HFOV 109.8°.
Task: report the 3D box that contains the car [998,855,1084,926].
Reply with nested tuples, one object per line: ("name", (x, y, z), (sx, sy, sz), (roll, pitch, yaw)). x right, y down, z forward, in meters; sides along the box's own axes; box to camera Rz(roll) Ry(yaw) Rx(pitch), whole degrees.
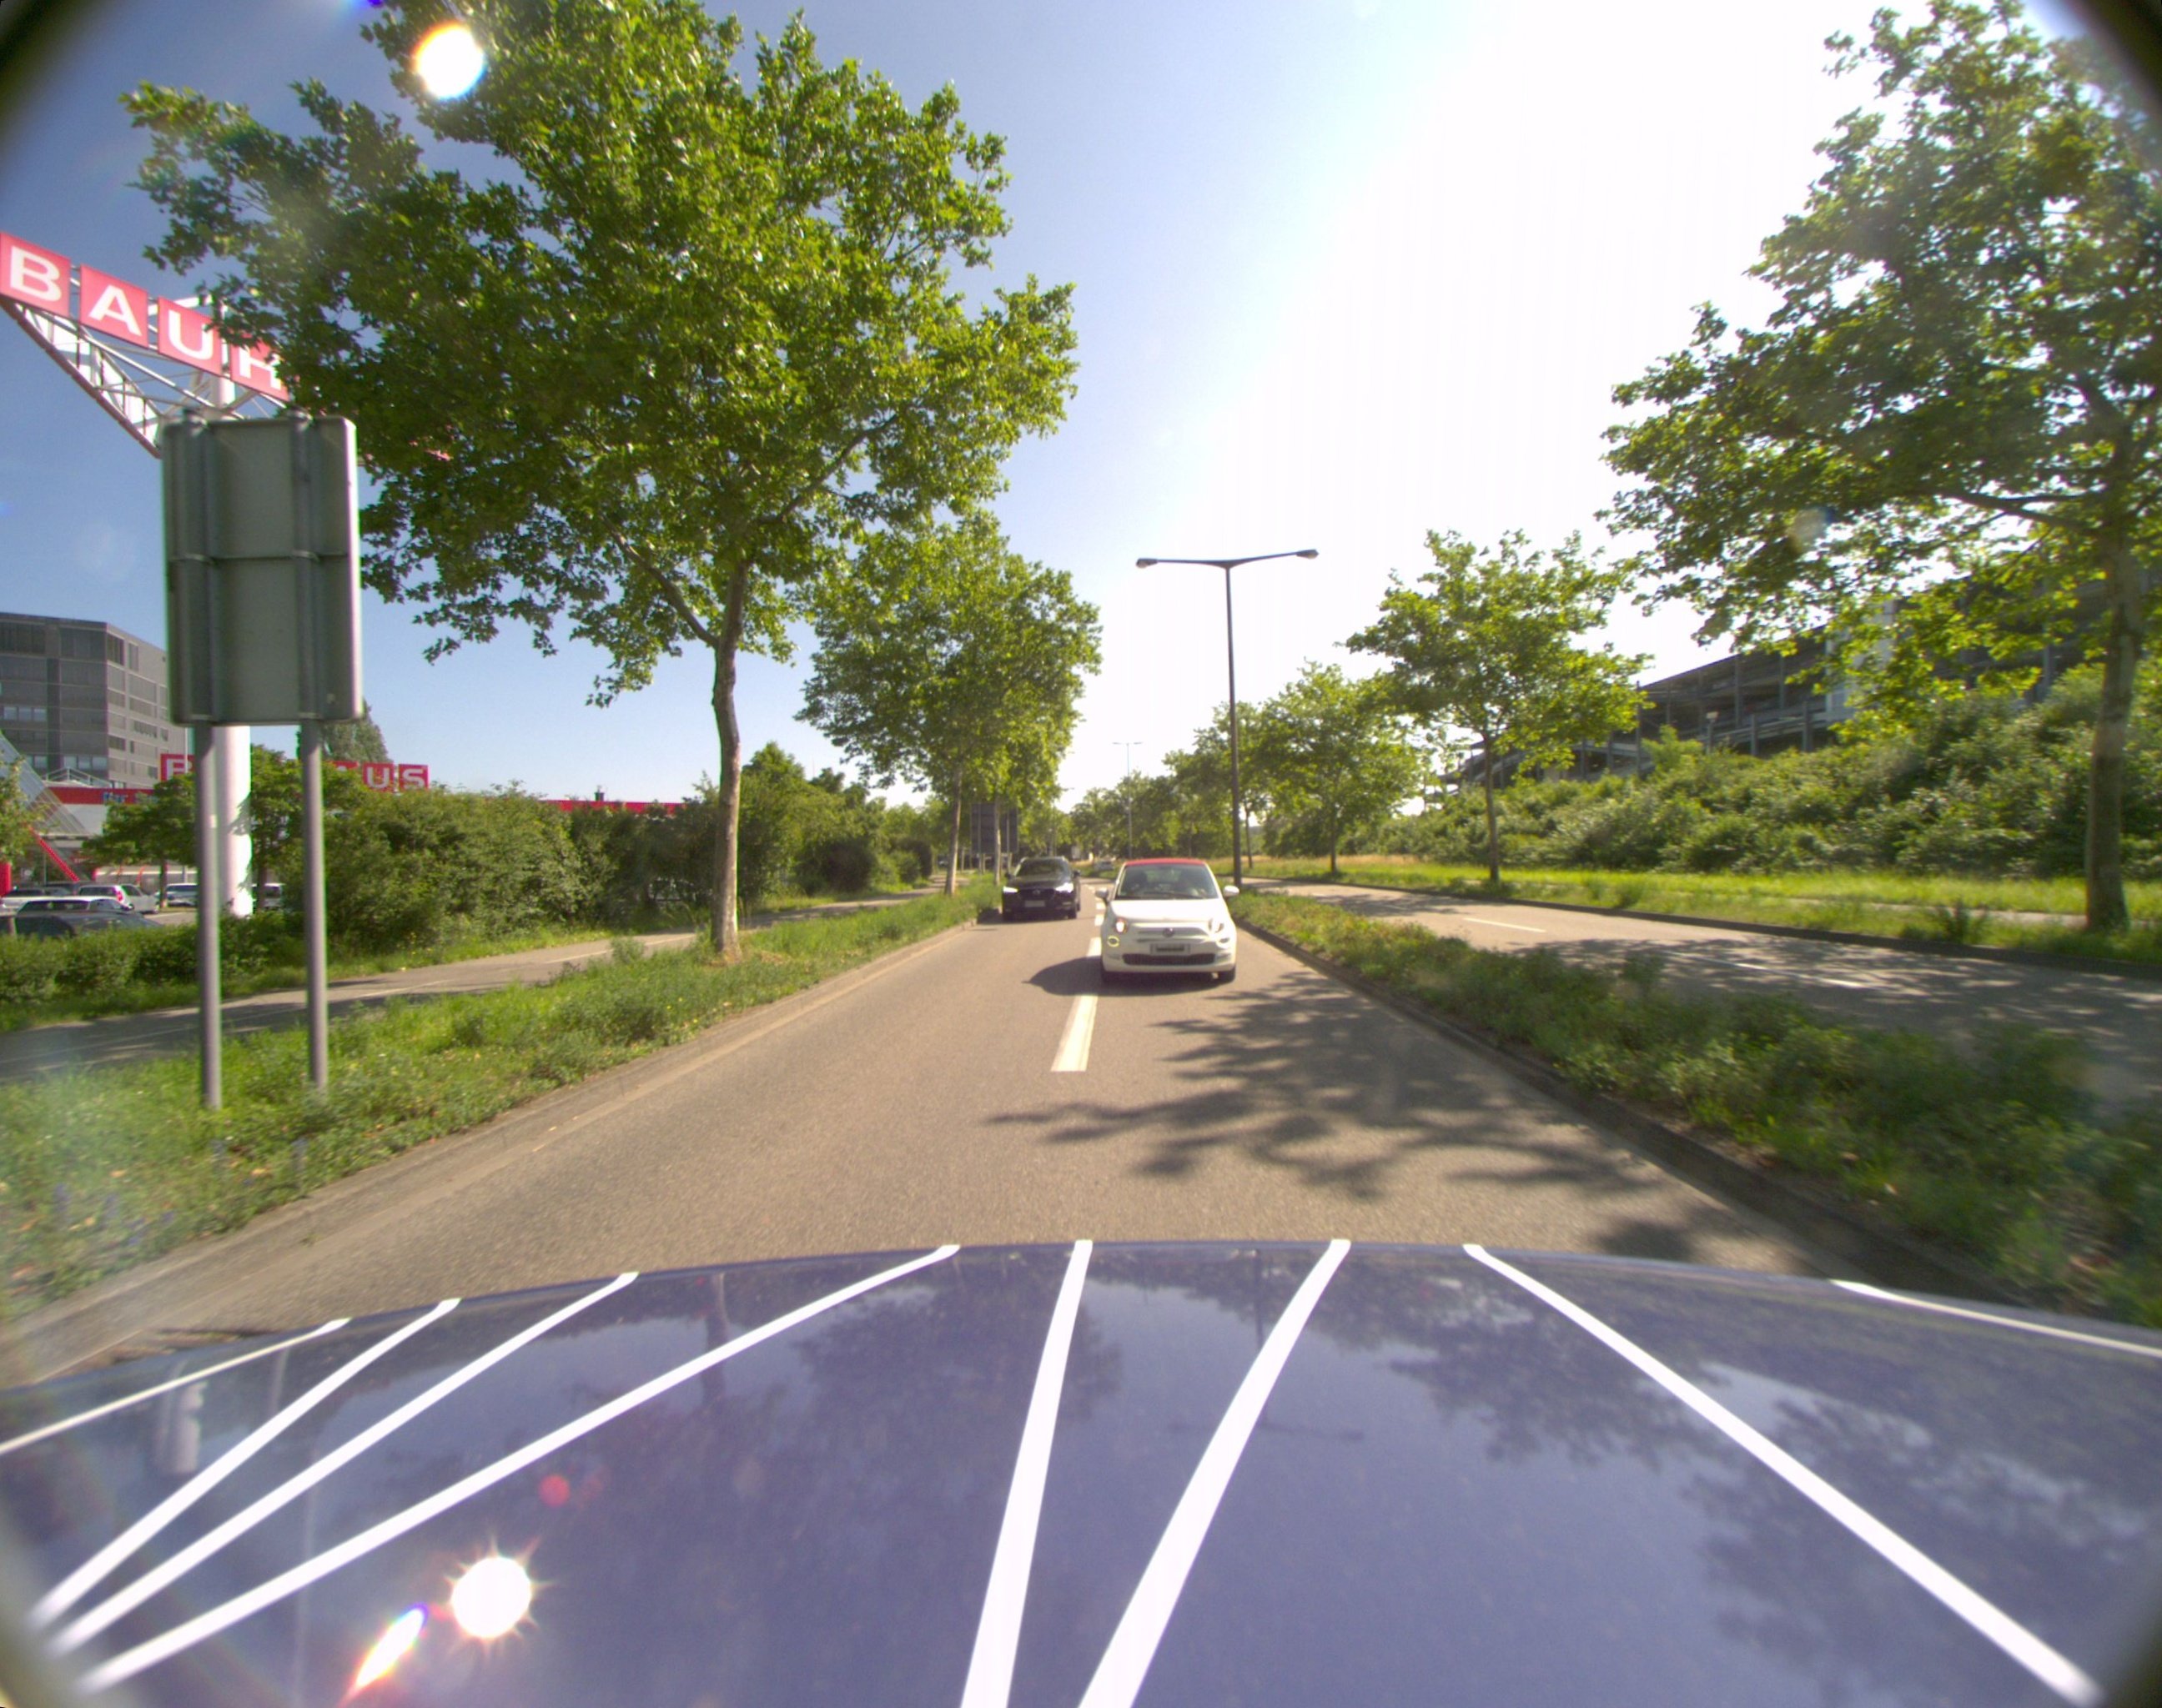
("car", (-0.985, 0.912, 21.001), (1.924, 1.613, 4.565), (-2, 1, 2))

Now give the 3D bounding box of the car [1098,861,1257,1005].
("car", (1.113, 0.874, 9.986), (1.665, 1.428, 3.520), (-2, 1, 2))

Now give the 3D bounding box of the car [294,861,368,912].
("car", (-39.813, 1.669, 40.454), (2.003, 2.494, 3.990), (-3, 1, -35))

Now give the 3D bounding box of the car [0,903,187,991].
("car", (-21.985, 1.981, 16.171), (3.774, 1.576, 1.740), (-2, 1, 0))
